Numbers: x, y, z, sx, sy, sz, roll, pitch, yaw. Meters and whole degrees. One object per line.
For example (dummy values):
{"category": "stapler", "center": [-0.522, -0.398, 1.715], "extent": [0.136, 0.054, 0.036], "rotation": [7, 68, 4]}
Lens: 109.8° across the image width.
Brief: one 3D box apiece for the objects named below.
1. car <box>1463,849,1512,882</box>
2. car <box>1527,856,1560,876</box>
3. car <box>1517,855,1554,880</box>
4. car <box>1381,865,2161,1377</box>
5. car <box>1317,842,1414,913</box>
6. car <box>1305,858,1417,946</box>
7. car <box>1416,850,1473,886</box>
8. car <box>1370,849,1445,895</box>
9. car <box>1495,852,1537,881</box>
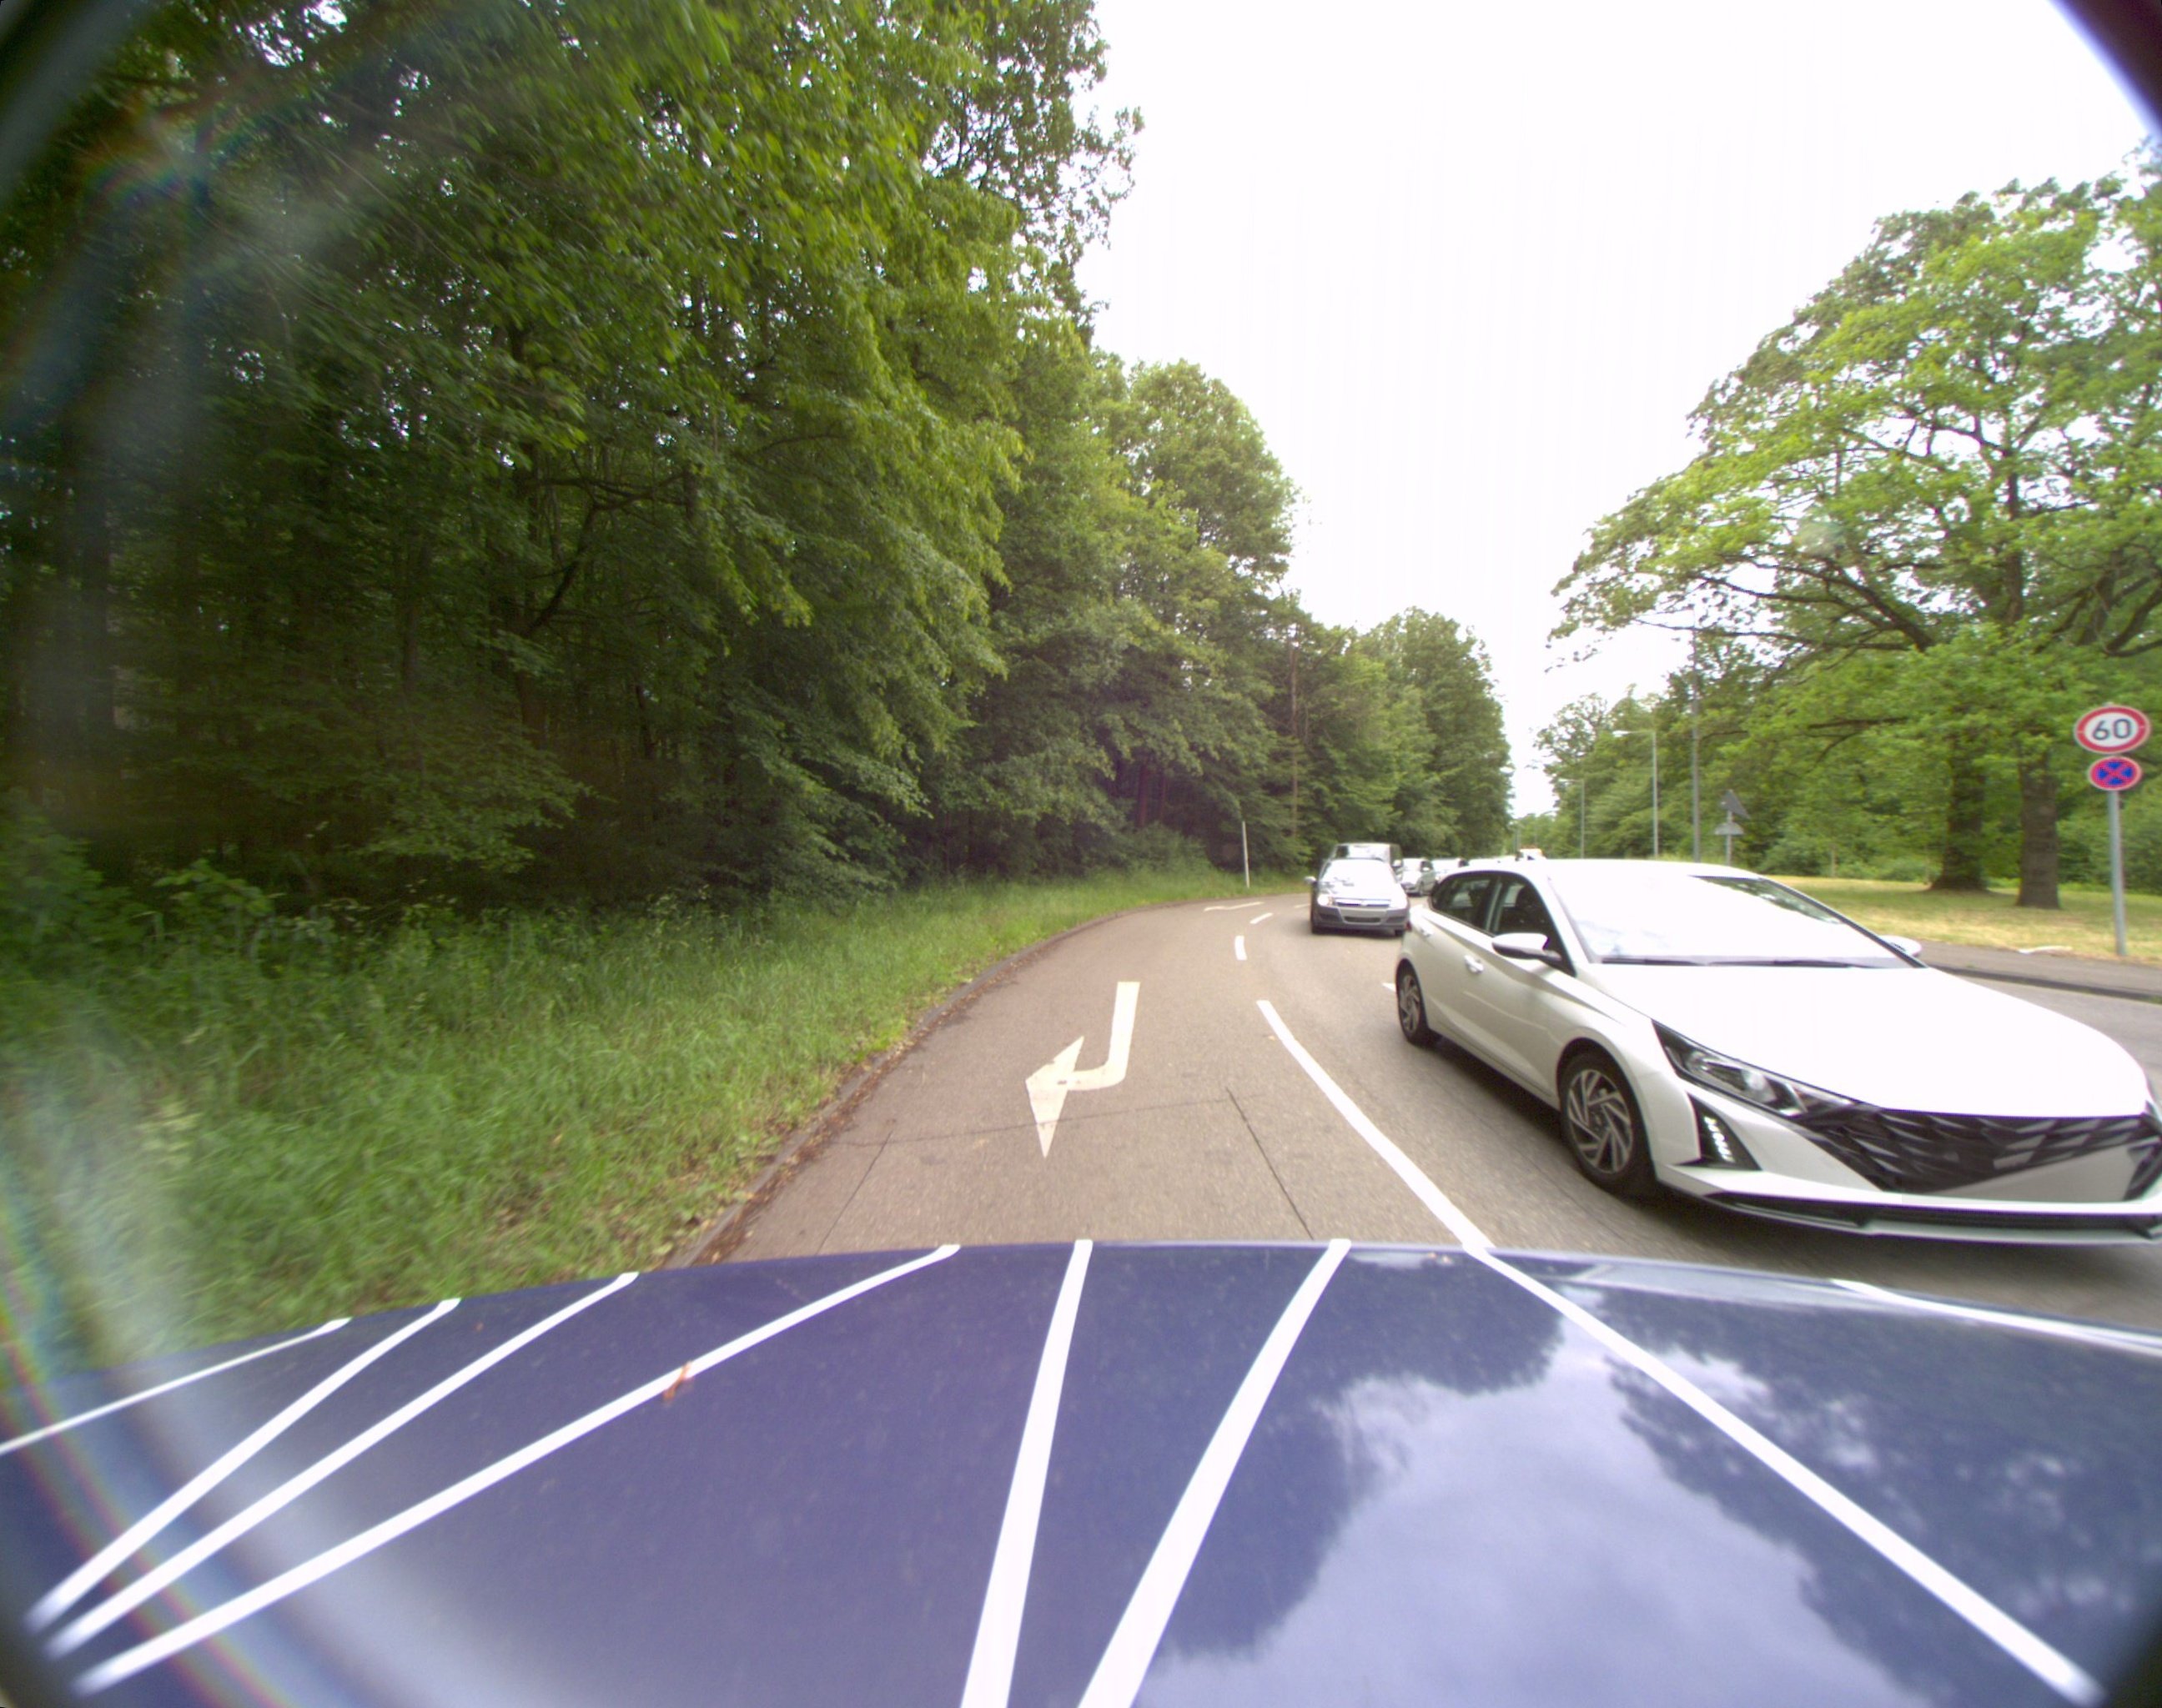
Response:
{"category": "car", "center": [20.095, 0.538, 37.486], "extent": [1.774, 1.491, 3.881], "rotation": [1, 0, 34]}
{"category": "car", "center": [35.703, 0.889, 58.646], "extent": [1.774, 1.491, 3.881], "rotation": [1, 0, 37]}
{"category": "car", "center": [28.061, 0.810, 46.874], "extent": [1.774, 1.491, 3.881], "rotation": [1, 0, 34]}
{"category": "car", "center": [3.174, 0.838, 4.334], "extent": [1.653, 1.470, 4.075], "rotation": [1, 0, 6]}
{"category": "car", "center": [8.544, 0.618, 22.534], "extent": [1.986, 1.862, 4.541], "rotation": [1, 0, 29]}
{"category": "car", "center": [5.594, 0.820, 15.310], "extent": [1.800, 1.470, 4.477], "rotation": [1, 0, 19]}
{"category": "car", "center": [16.299, 0.594, 33.990], "extent": [1.774, 1.491, 3.881], "rotation": [1, 0, 34]}
{"category": "car", "center": [12.867, 0.660, 29.806], "extent": [1.789, 1.664, 3.999], "rotation": [0, 0, 37]}
{"category": "car", "center": [24.287, 0.663, 42.341], "extent": [1.774, 1.491, 3.881], "rotation": [1, 0, 34]}
